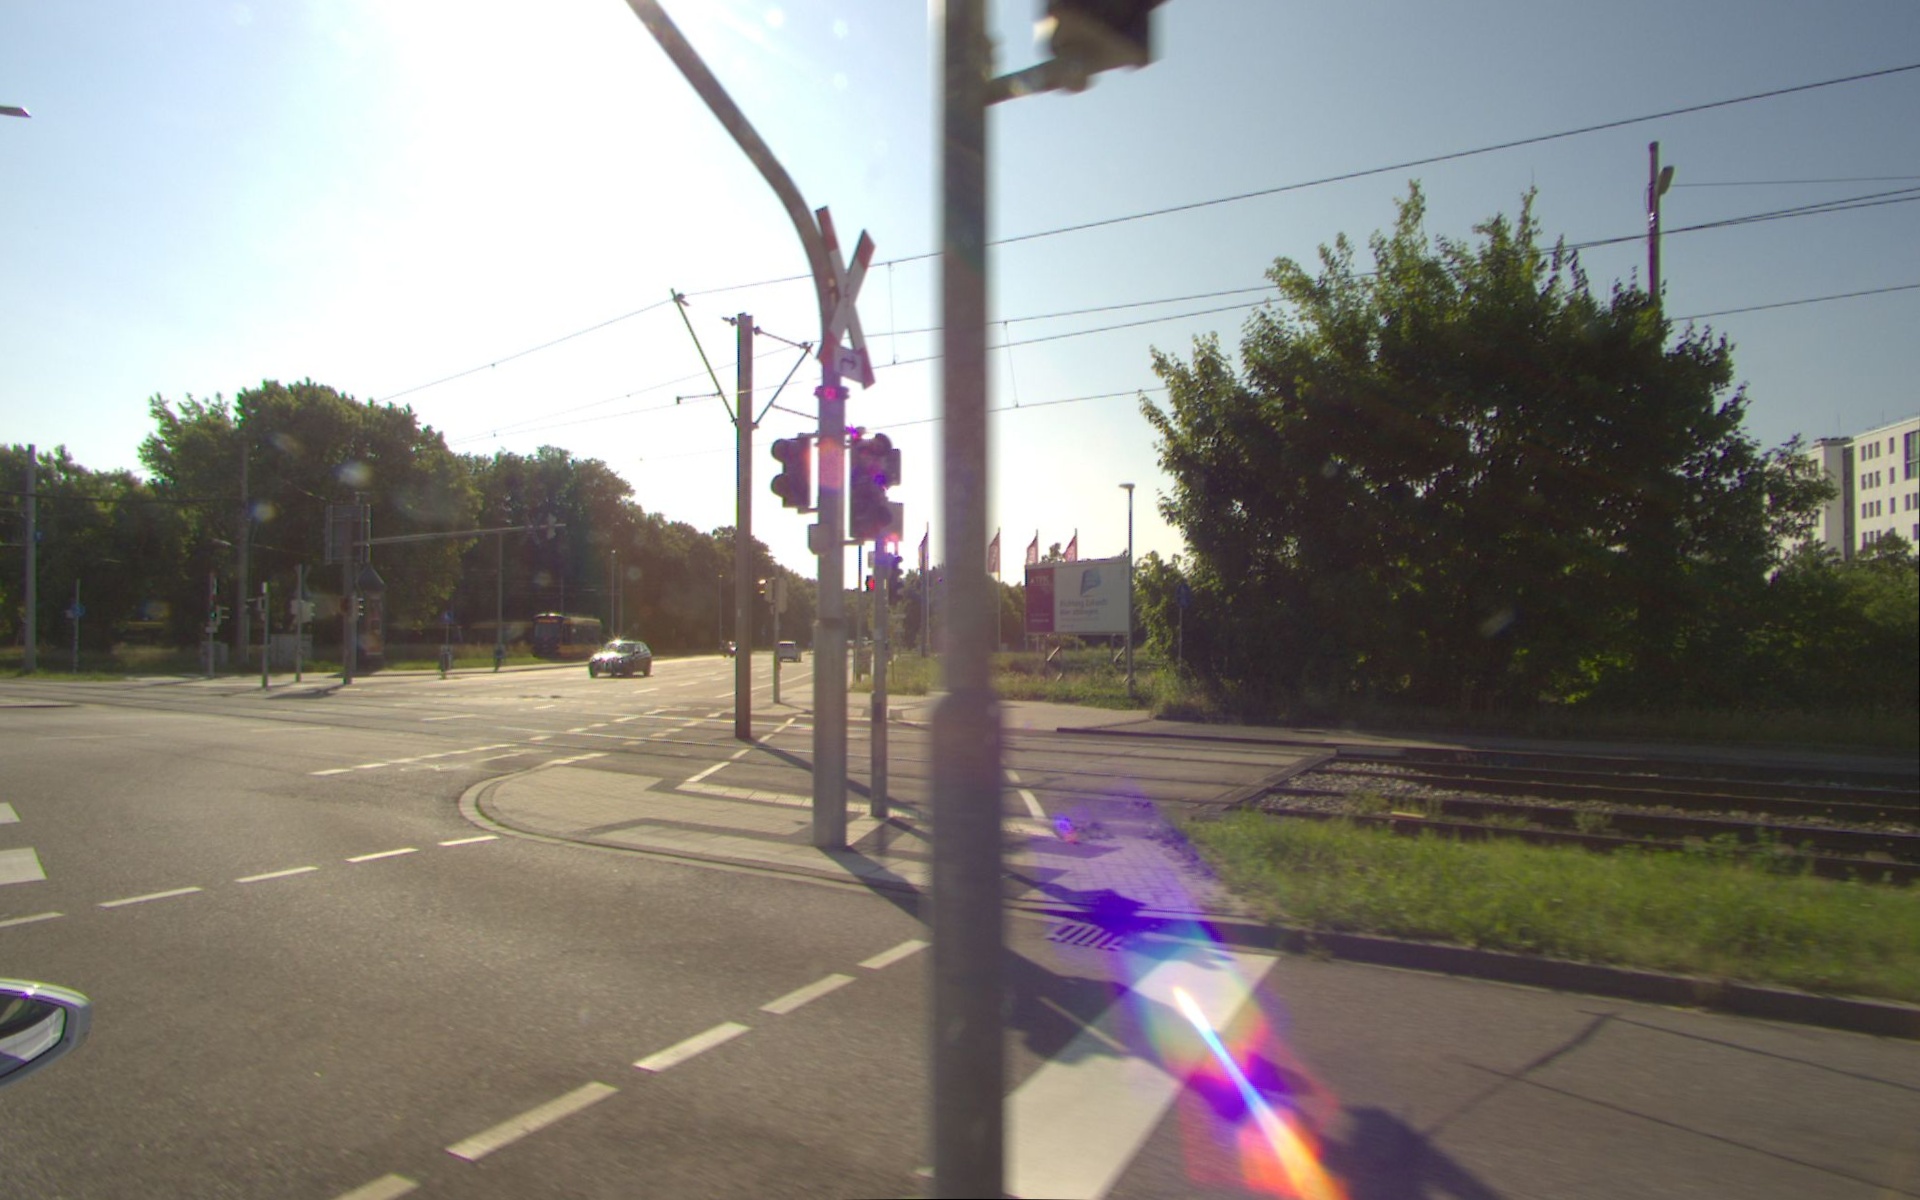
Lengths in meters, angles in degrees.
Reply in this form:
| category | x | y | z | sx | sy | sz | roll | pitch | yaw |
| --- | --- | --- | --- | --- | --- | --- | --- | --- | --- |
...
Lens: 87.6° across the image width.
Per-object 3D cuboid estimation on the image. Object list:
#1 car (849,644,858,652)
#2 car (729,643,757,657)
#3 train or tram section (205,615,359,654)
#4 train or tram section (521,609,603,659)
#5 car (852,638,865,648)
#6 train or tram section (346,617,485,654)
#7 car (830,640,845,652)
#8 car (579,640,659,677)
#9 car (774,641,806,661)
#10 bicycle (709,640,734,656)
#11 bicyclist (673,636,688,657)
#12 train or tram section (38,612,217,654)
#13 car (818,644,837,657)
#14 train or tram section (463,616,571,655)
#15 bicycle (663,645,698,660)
| category | x | y | z | sx | sy | sz | roll | pitch | yaw |
| --- | --- | --- | --- | --- | --- | --- | --- | --- | --- |
| car | -18.725 | 8.369 | 176.184 | 1.575 | 1.401 | 3.531 | 0 | -2 | -5 |
| car | -20.375 | 4.685 | 94.129 | 1.715 | 1.351 | 4.309 | 0 | -2 | 0 |
| train or tram section | -66.073 | 3.404 | 98.048 | 12.043 | 3.625 | 3.043 | 1 | -2 | -26 |
| train or tram section | -30.720 | 2.692 | 77.881 | 2.996 | 3.624 | 11.854 | 0 | -2 | -7 |
| car | -20.811 | 8.818 | 205.479 | 2.397 | 2.104 | 4.790 | 0 | -2 | -1 |
| train or tram section | -54.517 | 3.564 | 100.572 | 11.995 | 3.625 | 3.055 | 0 | -2 | -6 |
| car | -15.617 | 5.874 | 128.161 | 1.575 | 1.401 | 3.531 | 0 | -2 | -1 |
| car | -15.707 | 2.670 | 46.404 | 2.004 | 1.583 | 4.864 | 0 | -1 | 0 |
| car | -13.790 | 4.119 | 81.264 | 1.820 | 1.582 | 4.206 | 0 | -2 | 0 |
| bicycle | -25.460 | 5.135 | 106.852 | 2.563 | 1.734 | 0.795 | 1 | -2 | -8 |
| bicyclist | -27.943 | 4.676 | 100.062 | 1.078 | 2.038 | 1.141 | 0 | -3 | 5 |
| train or tram section | -76.438 | 3.103 | 92.399 | 12.268 | 3.625 | 3.038 | 2 | -2 | -31 |
| car | -14.171 | 5.408 | 107.539 | 1.575 | 1.401 | 3.531 | 0 | -2 | 0 |
| train or tram section | -43.317 | 3.437 | 97.673 | 12.045 | 3.625 | 3.042 | -1 | -2 | 29 |
| bicycle | -27.887 | 5.268 | 100.042 | 3.166 | 1.472 | 1.132 | 0 | -3 | 6 |
